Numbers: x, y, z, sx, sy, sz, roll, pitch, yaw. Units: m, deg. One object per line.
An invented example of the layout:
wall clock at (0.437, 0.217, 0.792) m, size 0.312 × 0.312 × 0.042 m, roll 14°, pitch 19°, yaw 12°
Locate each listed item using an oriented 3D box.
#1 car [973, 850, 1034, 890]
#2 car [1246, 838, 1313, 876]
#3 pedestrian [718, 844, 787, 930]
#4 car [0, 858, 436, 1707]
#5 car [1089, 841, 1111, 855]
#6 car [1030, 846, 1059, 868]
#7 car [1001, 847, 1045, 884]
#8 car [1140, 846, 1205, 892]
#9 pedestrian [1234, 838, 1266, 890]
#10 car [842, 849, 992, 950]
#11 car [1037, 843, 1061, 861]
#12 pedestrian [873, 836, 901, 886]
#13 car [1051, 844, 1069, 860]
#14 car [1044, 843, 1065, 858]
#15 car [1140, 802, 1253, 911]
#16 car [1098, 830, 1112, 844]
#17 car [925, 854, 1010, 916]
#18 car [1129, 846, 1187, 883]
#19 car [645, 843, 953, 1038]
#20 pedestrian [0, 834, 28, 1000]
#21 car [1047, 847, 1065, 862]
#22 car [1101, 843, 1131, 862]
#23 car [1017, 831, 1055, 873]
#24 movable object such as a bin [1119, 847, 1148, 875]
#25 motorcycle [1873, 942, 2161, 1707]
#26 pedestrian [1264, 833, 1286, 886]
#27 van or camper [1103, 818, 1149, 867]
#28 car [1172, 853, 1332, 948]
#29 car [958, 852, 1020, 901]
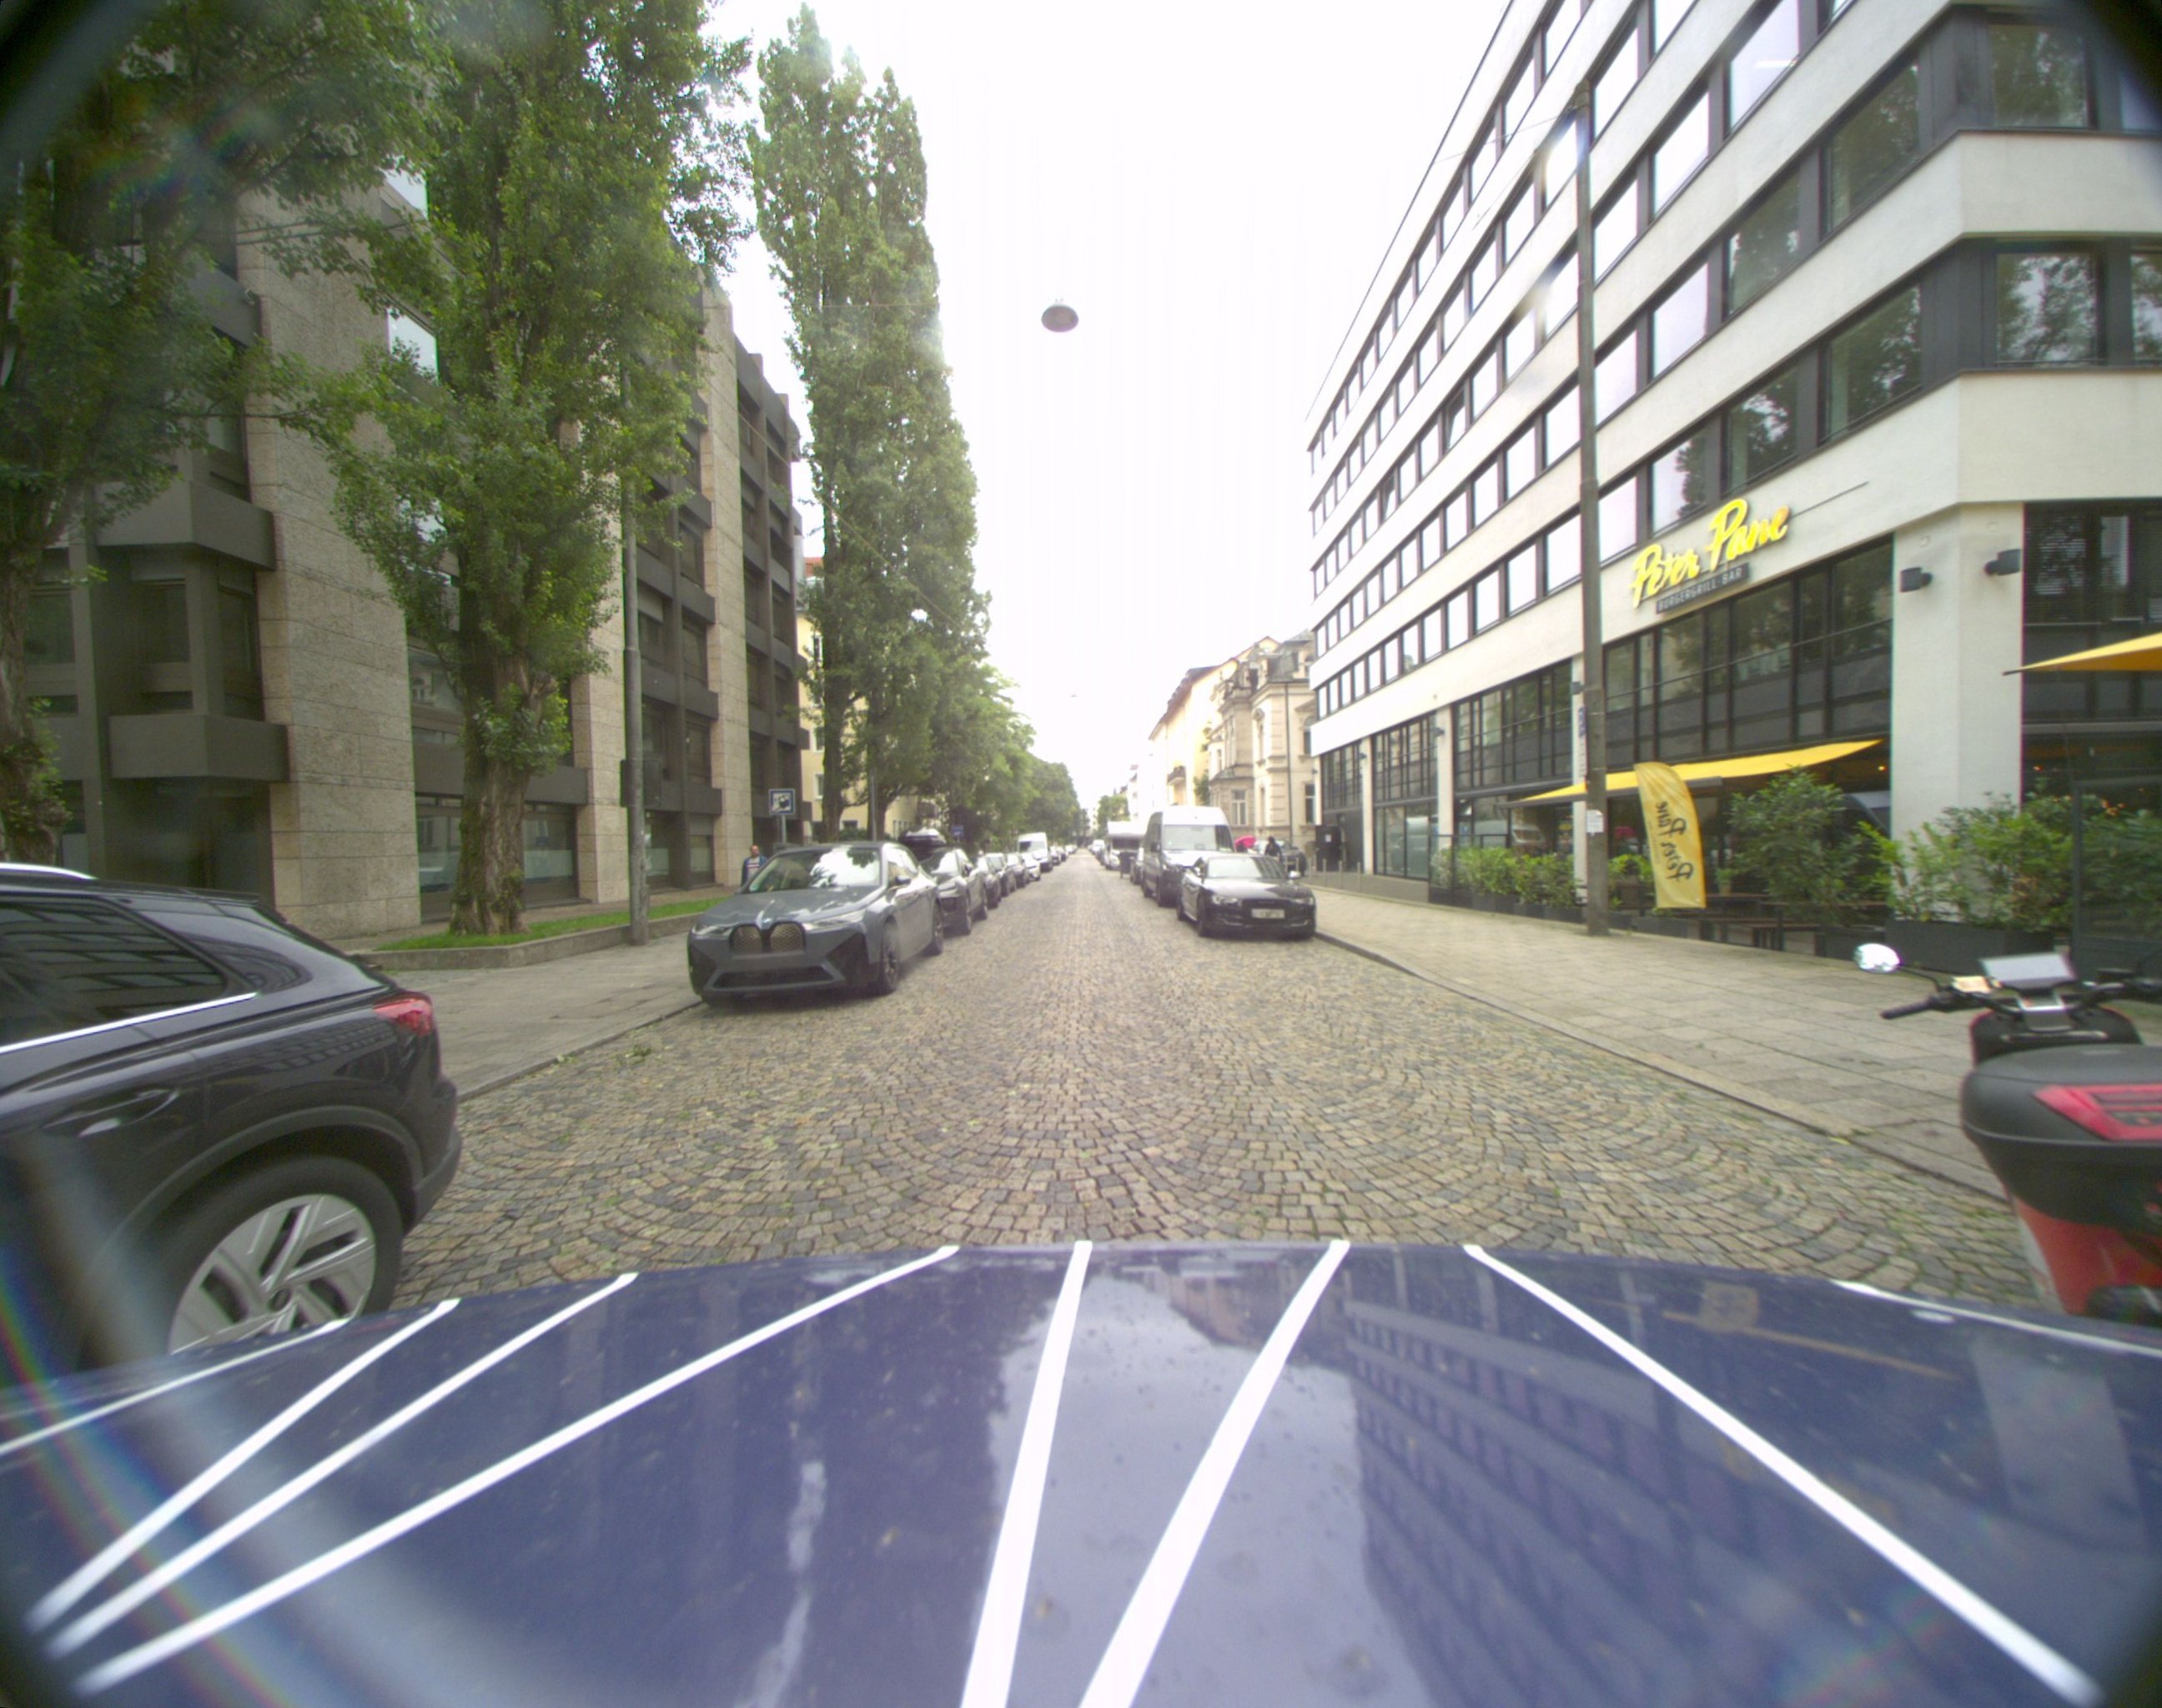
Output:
car at (-3.066, 0.606, 30.927) m, size 1.998 × 1.380 × 3.872 m, roll -3°, pitch 1°, yaw 0°
car at (8.660, 0.079, 33.550) m, size 1.912 × 1.524 × 4.169 m, roll -2°, pitch 1°, yaw 1°
pedestrian at (-6.784, 0.657, 15.718) m, size 0.867 × 1.704 × 0.913 m, roll -1°, pitch 2°, yaw 20°
car at (-3.146, 0.941, 0.421) m, size 1.925 × 1.691 × 4.200 m, roll -2°, pitch 1°, yaw -1°
car at (1.932, -0.623, 78.844) m, size 1.999 × 1.402 × 3.872 m, roll -1°, pitch 1°, yaw -2°
car at (-2.648, 0.202, 55.303) m, size 1.999 × 1.380 × 3.872 m, roll -3°, pitch 1°, yaw -2°
car at (-2.708, 0.497, 36.179) m, size 1.868 × 1.490 × 3.872 m, roll -3°, pitch 1°, yaw -2°
car at (3.138, 0.470, 26.801) m, size 1.998 × 1.422 × 4.000 m, roll -1°, pitch 1°, yaw 3°
pedestrian at (5.714, 0.331, 25.729) m, size 0.928 × 1.696 × 0.800 m, roll -1°, pitch 2°, yaw 3°
car at (-3.024, 0.757, 15.017) m, size 1.999 × 1.574 × 4.340 m, roll -2°, pitch 1°, yaw -1°
car at (-2.813, -0.184, 67.442) m, size 1.999 × 1.380 × 3.872 m, roll -3°, pitch 1°, yaw -2°
pedestrian at (-5.998, 0.205, 23.552) m, size 0.645 × 1.529 × 0.709 m, roll -2°, pitch 2°, yaw -2°
car at (-2.431, -0.257, 88.053) m, size 1.999 × 1.680 × 3.872 m, roll -3°, pitch 1°, yaw -2°
car at (-2.670, -0.395, 76.084) m, size 1.999 × 1.380 × 3.872 m, roll -2°, pitch 1°, yaw -2°
car at (2.914, 0.005, 20.528) m, size 2.065 × 2.477 × 5.847 m, roll -1°, pitch 1°, yaw 0°
car at (4.279, -3.074, 135.629) m, size 2.088 × 2.419 × 5.608 m, roll -3°, pitch 1°, yaw -1°
car at (-3.059, 0.782, 21.295) m, size 1.724 × 1.382 × 4.204 m, roll -3°, pitch 1°, yaw -1°
car at (3.102, 0.386, 31.391) m, size 1.998 × 1.380 × 3.999 m, roll -1°, pitch 1°, yaw 0°
car at (-2.996, 0.771, 9.361) m, size 2.018 × 1.691 × 4.671 m, roll -2°, pitch 1°, yaw -1°
pedestrian at (-10.817, 0.623, 7.156) m, size 0.708 × 1.597 × 0.720 m, roll -1°, pitch 2°, yaw 4°
car at (-2.728, 0.040, 82.789) m, size 1.999 × 1.380 × 3.871 m, roll 0°, pitch 2°, yaw -2°
car at (2.790, -0.159, 61.545) m, size 1.999 × 1.380 × 3.872 m, roll -3°, pitch 1°, yaw -2°
car at (-2.842, -0.192, 48.830) m, size 2.088 × 2.419 × 5.608 m, roll -3°, pitch 1°, yaw -1°
movable object such as a bin at (2.535, 0.335, 36.780) m, size 1.255 × 1.291 × 1.173 m, roll -1°, pitch 1°, yaw -3°
motorcycle at (2.679, 0.964, 2.003) m, size 1.995 × 1.189 × 0.769 m, roll -2°, pitch 2°, yaw -42°
pedestrian at (6.461, 0.182, 25.348) m, size 0.575 × 1.738 × 0.650 m, roll -1°, pitch 2°, yaw 4°
van or camper at (2.917, -0.790, 50.765) m, size 2.464 × 3.030 × 7.315 m, roll -2°, pitch 1°, yaw -1°
car at (2.834, 0.702, 13.554) m, size 1.998 × 1.322 × 4.116 m, roll -1°, pitch 1°, yaw 2°
car at (-3.072, 0.710, 26.004) m, size 1.604 × 1.422 × 3.561 m, roll -4°, pitch 1°, yaw 0°
